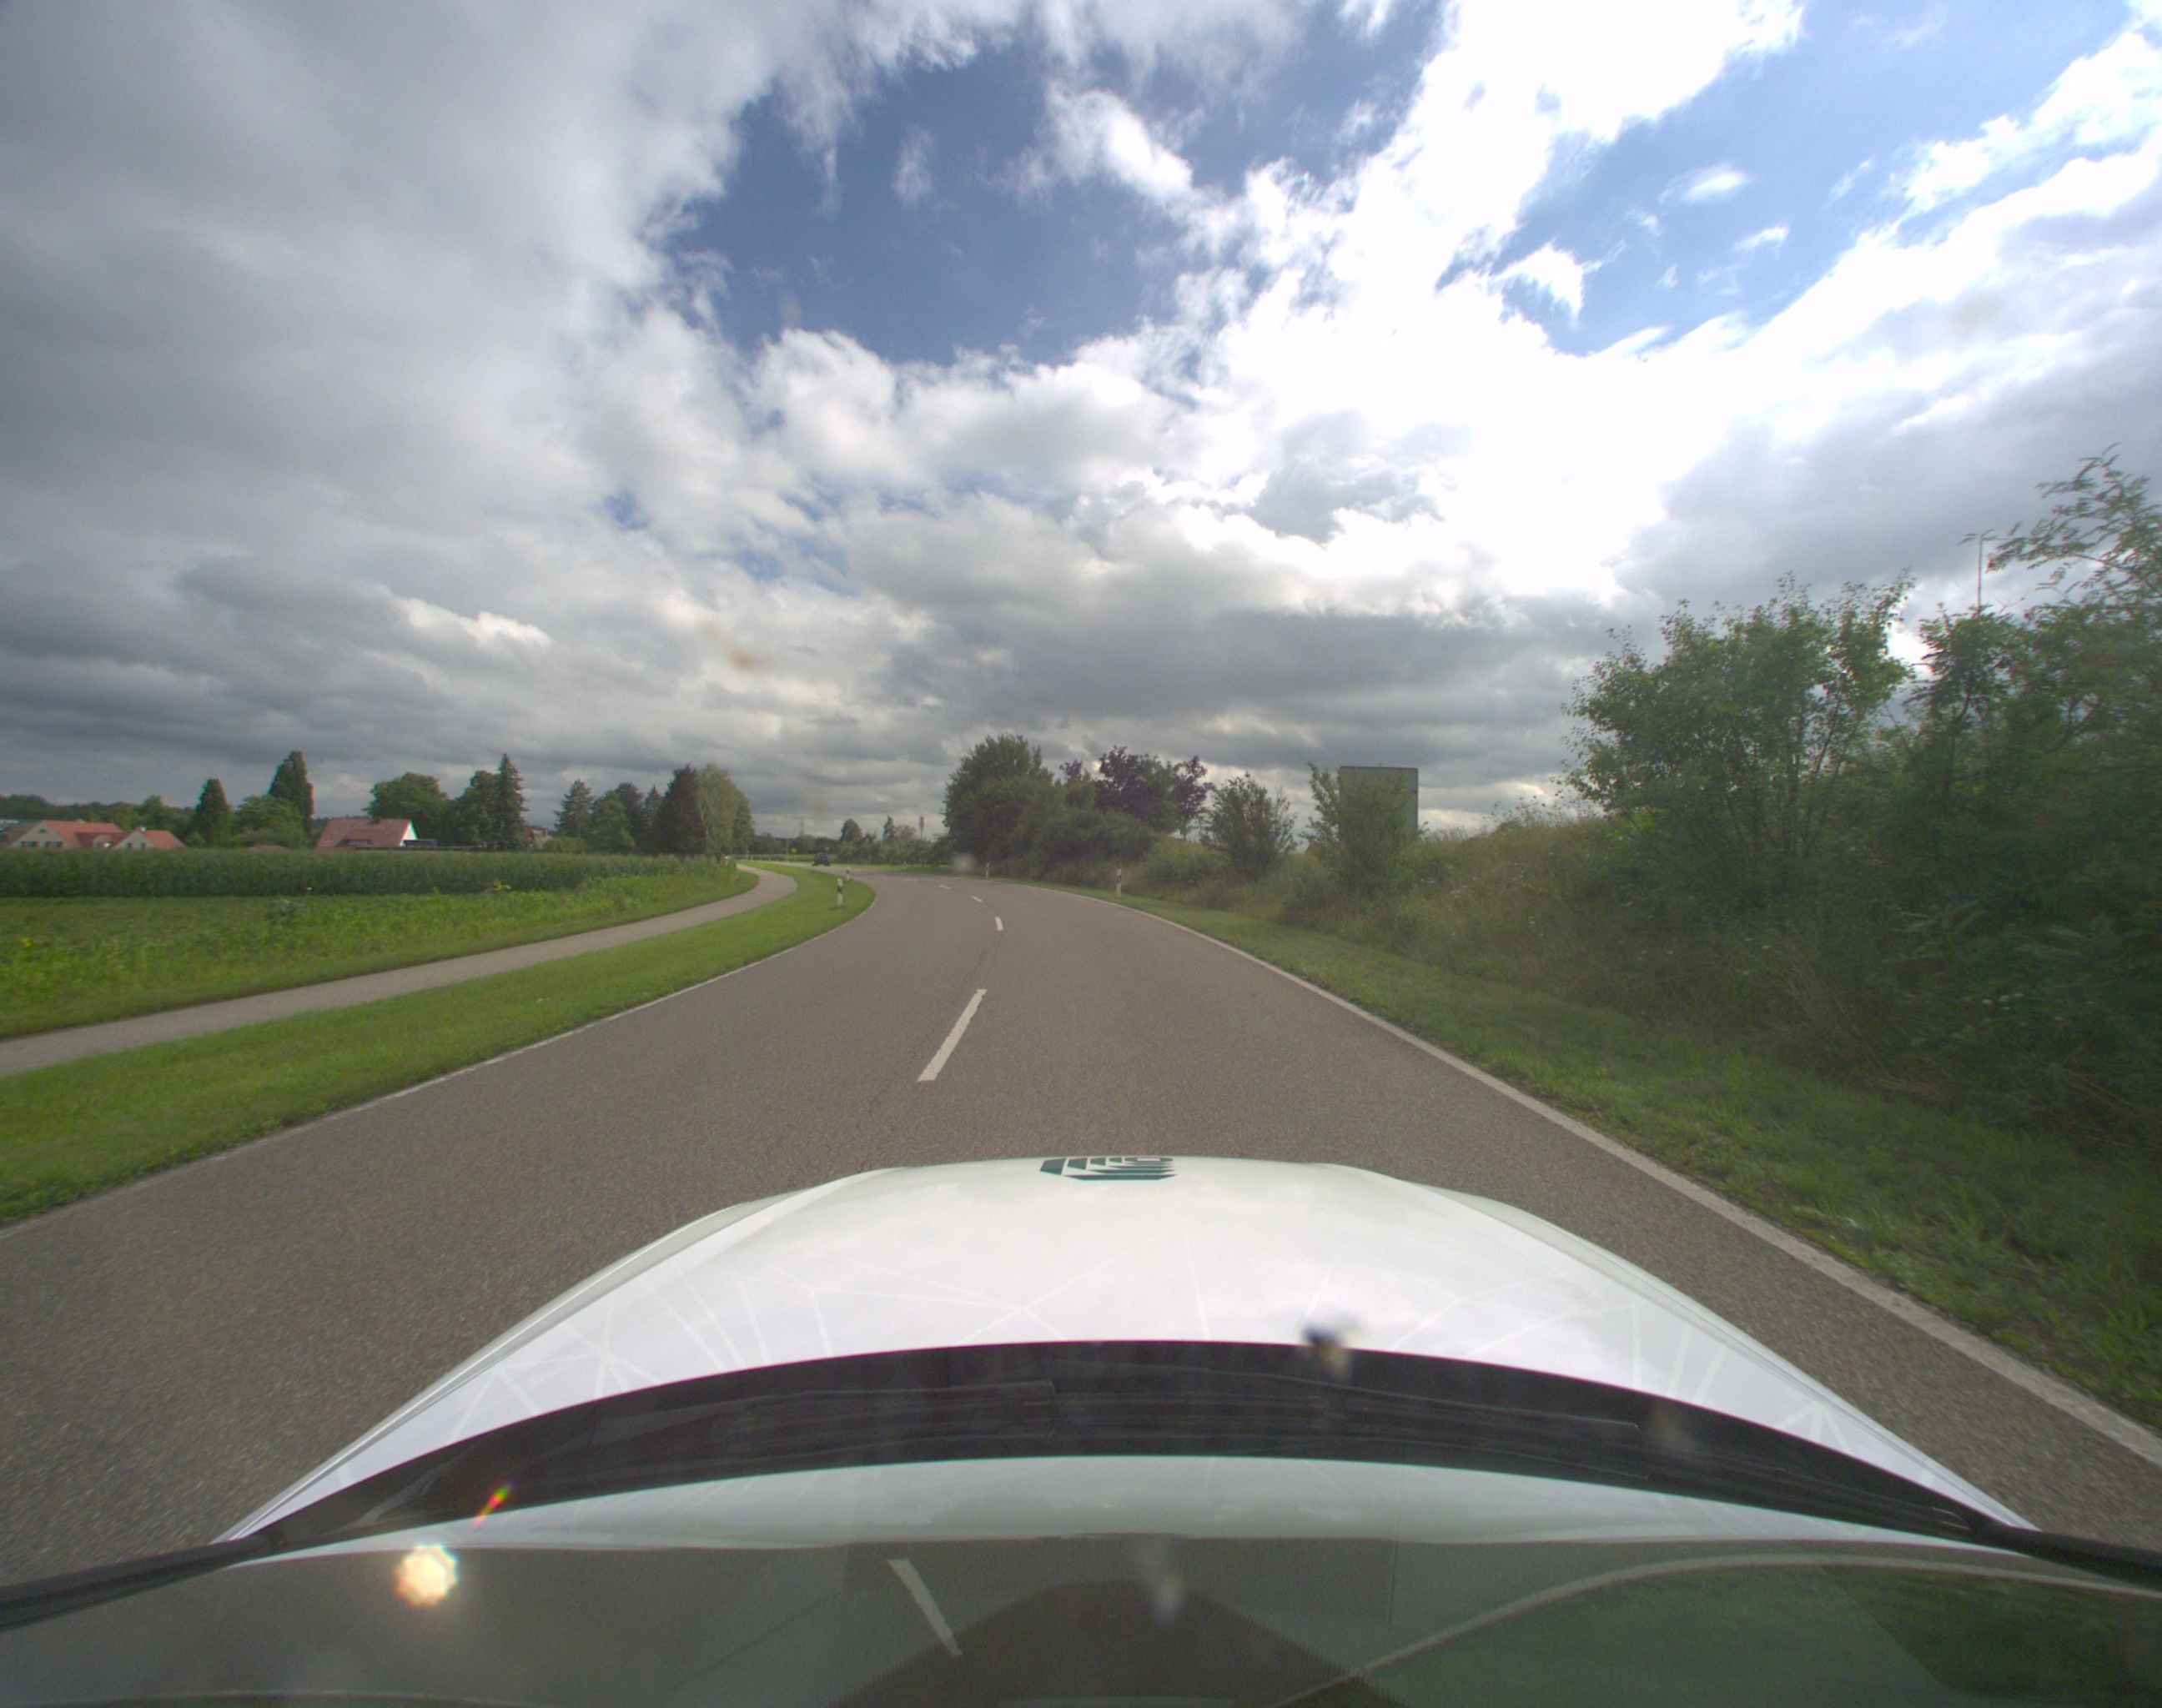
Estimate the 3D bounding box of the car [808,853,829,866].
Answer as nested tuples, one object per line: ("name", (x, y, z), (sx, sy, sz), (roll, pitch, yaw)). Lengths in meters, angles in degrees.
("car", (-34.761, 0.698, 107.761), (1.917, 1.666, 3.964), (2, -1, -27))
